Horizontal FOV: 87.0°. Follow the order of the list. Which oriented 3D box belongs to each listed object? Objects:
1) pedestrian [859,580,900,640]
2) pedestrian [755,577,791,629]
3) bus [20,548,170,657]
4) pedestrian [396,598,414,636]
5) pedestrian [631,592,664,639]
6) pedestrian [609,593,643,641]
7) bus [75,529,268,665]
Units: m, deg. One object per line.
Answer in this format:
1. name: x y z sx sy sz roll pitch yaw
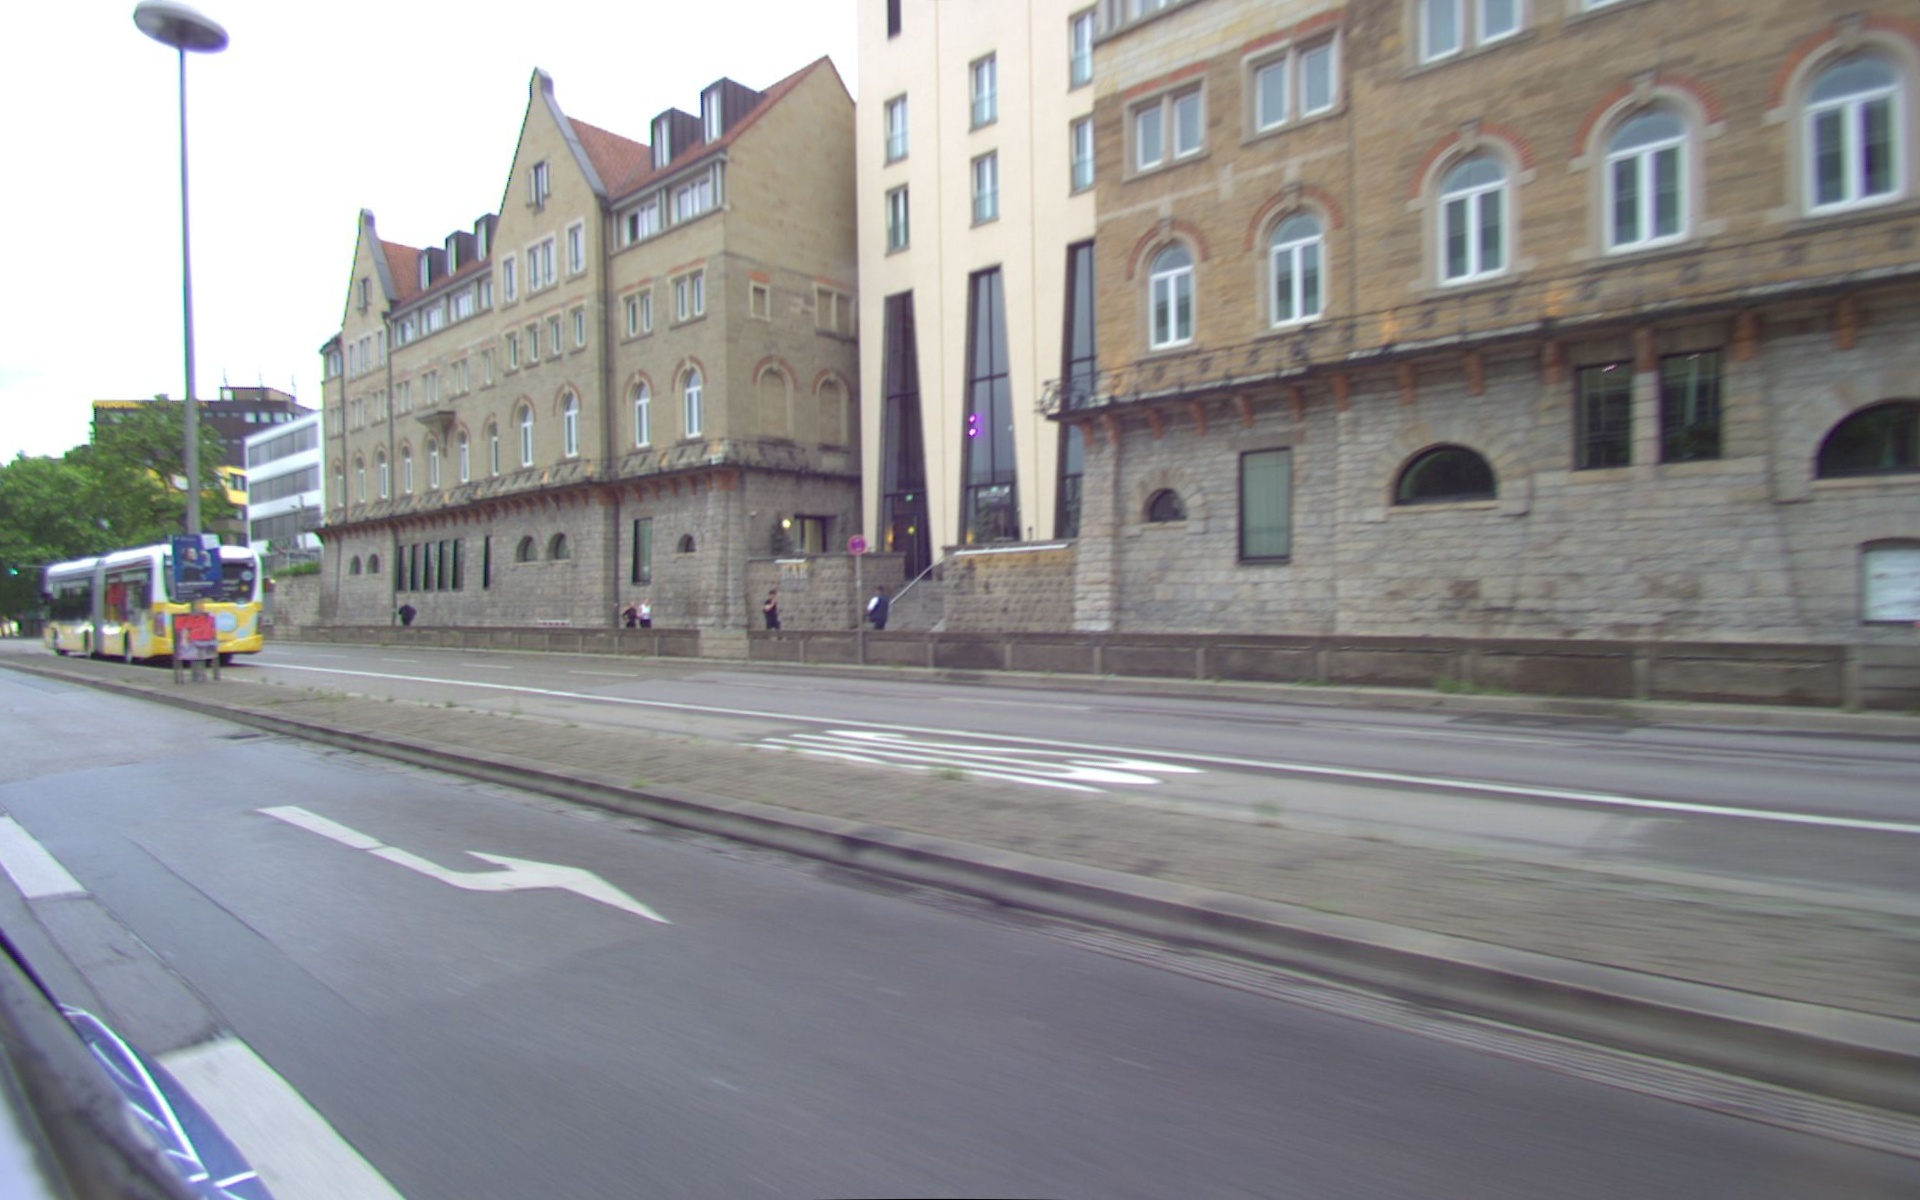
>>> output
1. pedestrian: -2.037 0.261 25.625 0.744 1.489 0.715 0 -2 -39
2. pedestrian: -5.587 0.091 30.171 0.713 1.489 0.746 -3 -2 40
3. bus: -32.297 0.100 37.592 10.086 3.586 2.671 0 0 40
4. pedestrian: -25.770 0.786 47.006 0.632 1.759 0.622 0 -2 -39
5. pedestrian: -10.185 0.502 32.960 0.713 1.489 0.746 -3 -2 40
6. pedestrian: -10.688 0.547 32.350 0.713 1.489 0.746 -3 -2 40
7. bus: -24.359 -0.037 30.990 10.086 3.586 2.671 -1 -1 40
